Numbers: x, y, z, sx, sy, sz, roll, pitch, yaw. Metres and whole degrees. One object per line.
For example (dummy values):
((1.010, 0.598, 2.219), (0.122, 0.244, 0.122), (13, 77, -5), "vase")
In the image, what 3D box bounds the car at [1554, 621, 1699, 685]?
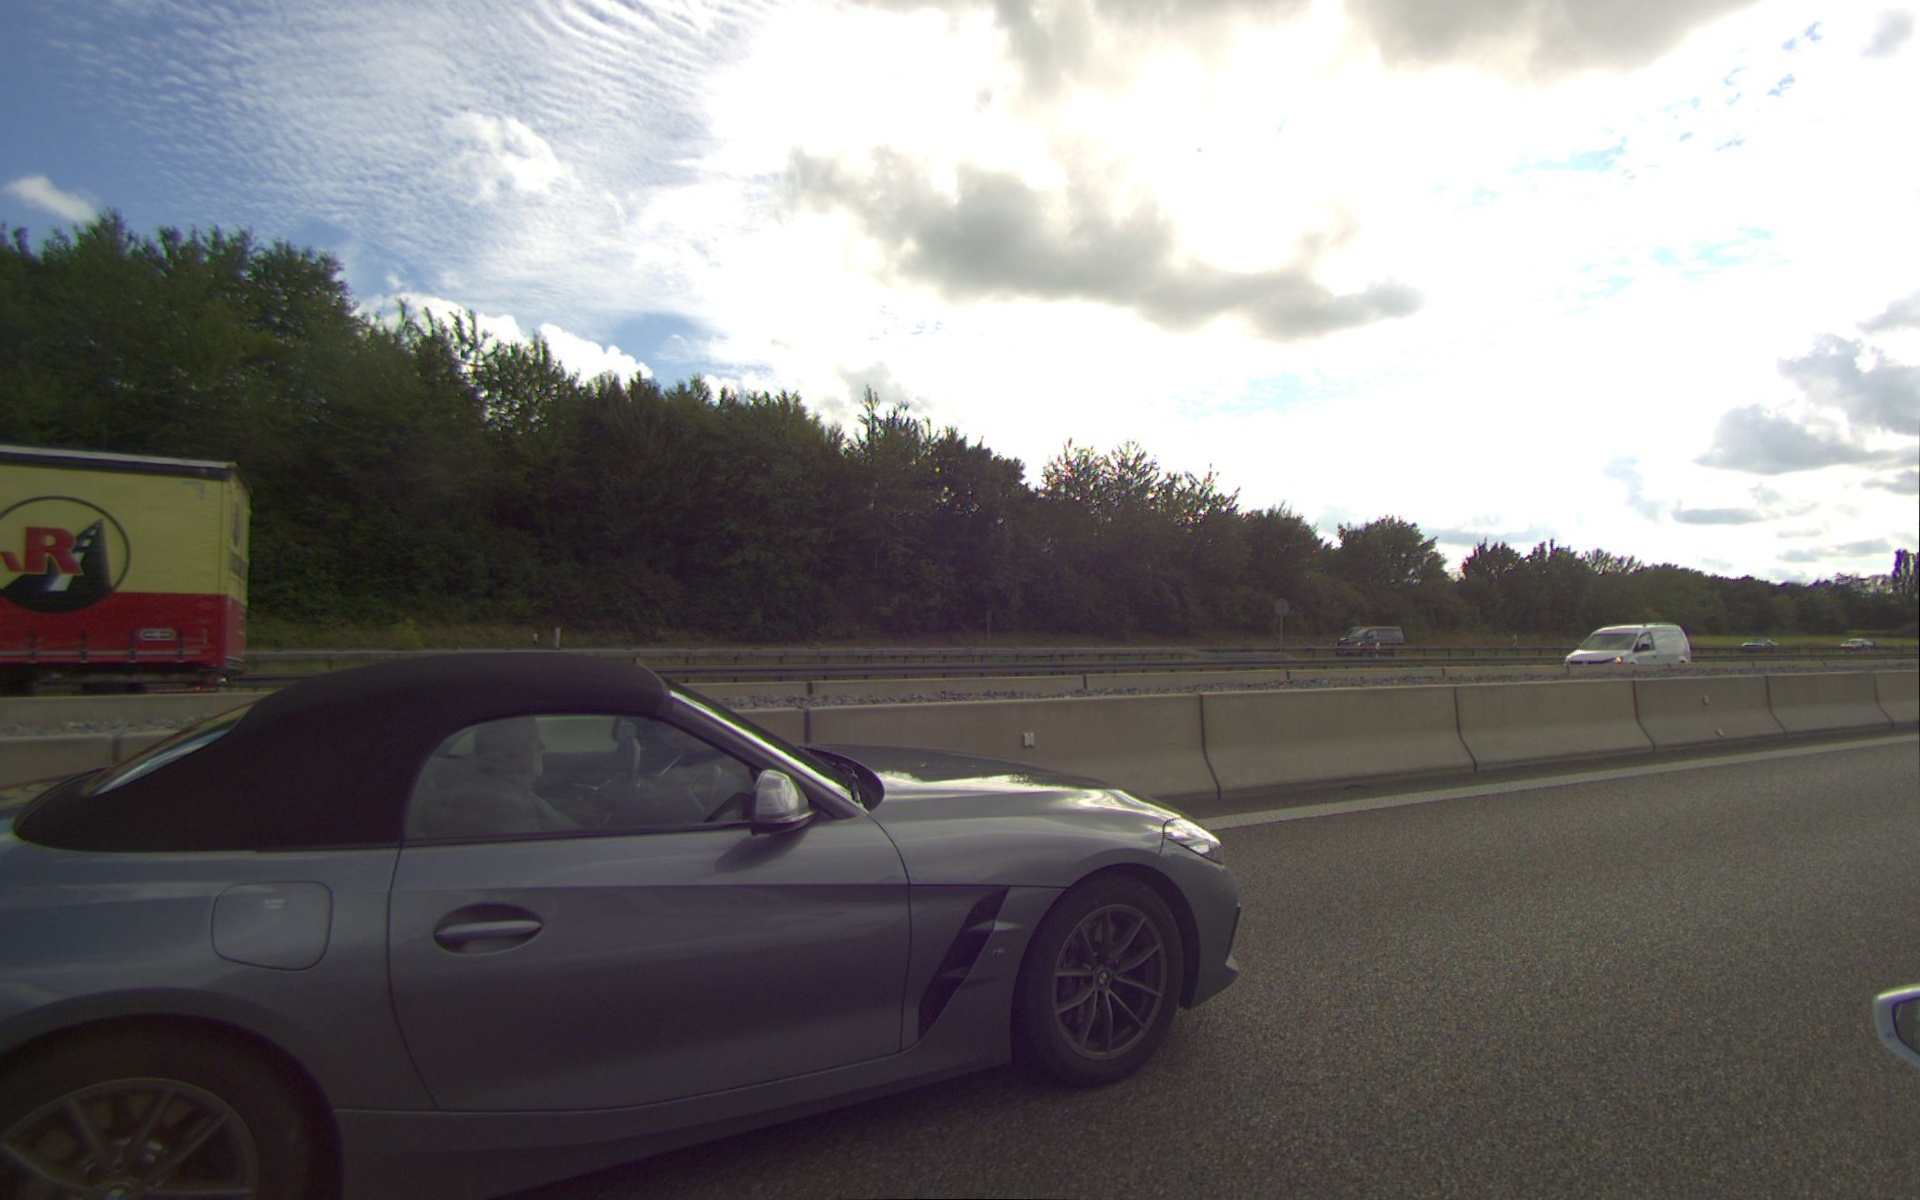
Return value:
((20.195, 1.561, 30.368), (5.067, 1.818, 1.724), (1, -1, -32), "car")

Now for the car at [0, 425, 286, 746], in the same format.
((-17.220, -0.248, 12.890), (13.982, 4.382, 2.891), (1, -2, -31), "car")

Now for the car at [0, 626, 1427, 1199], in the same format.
((-0.771, 0.778, 3.406), (4.885, 1.320, 1.864), (1, -1, -31), "car")

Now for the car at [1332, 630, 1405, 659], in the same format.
((24.775, 2.685, 60.946), (4.367, 1.684, 1.873), (1, -2, -30), "car")
